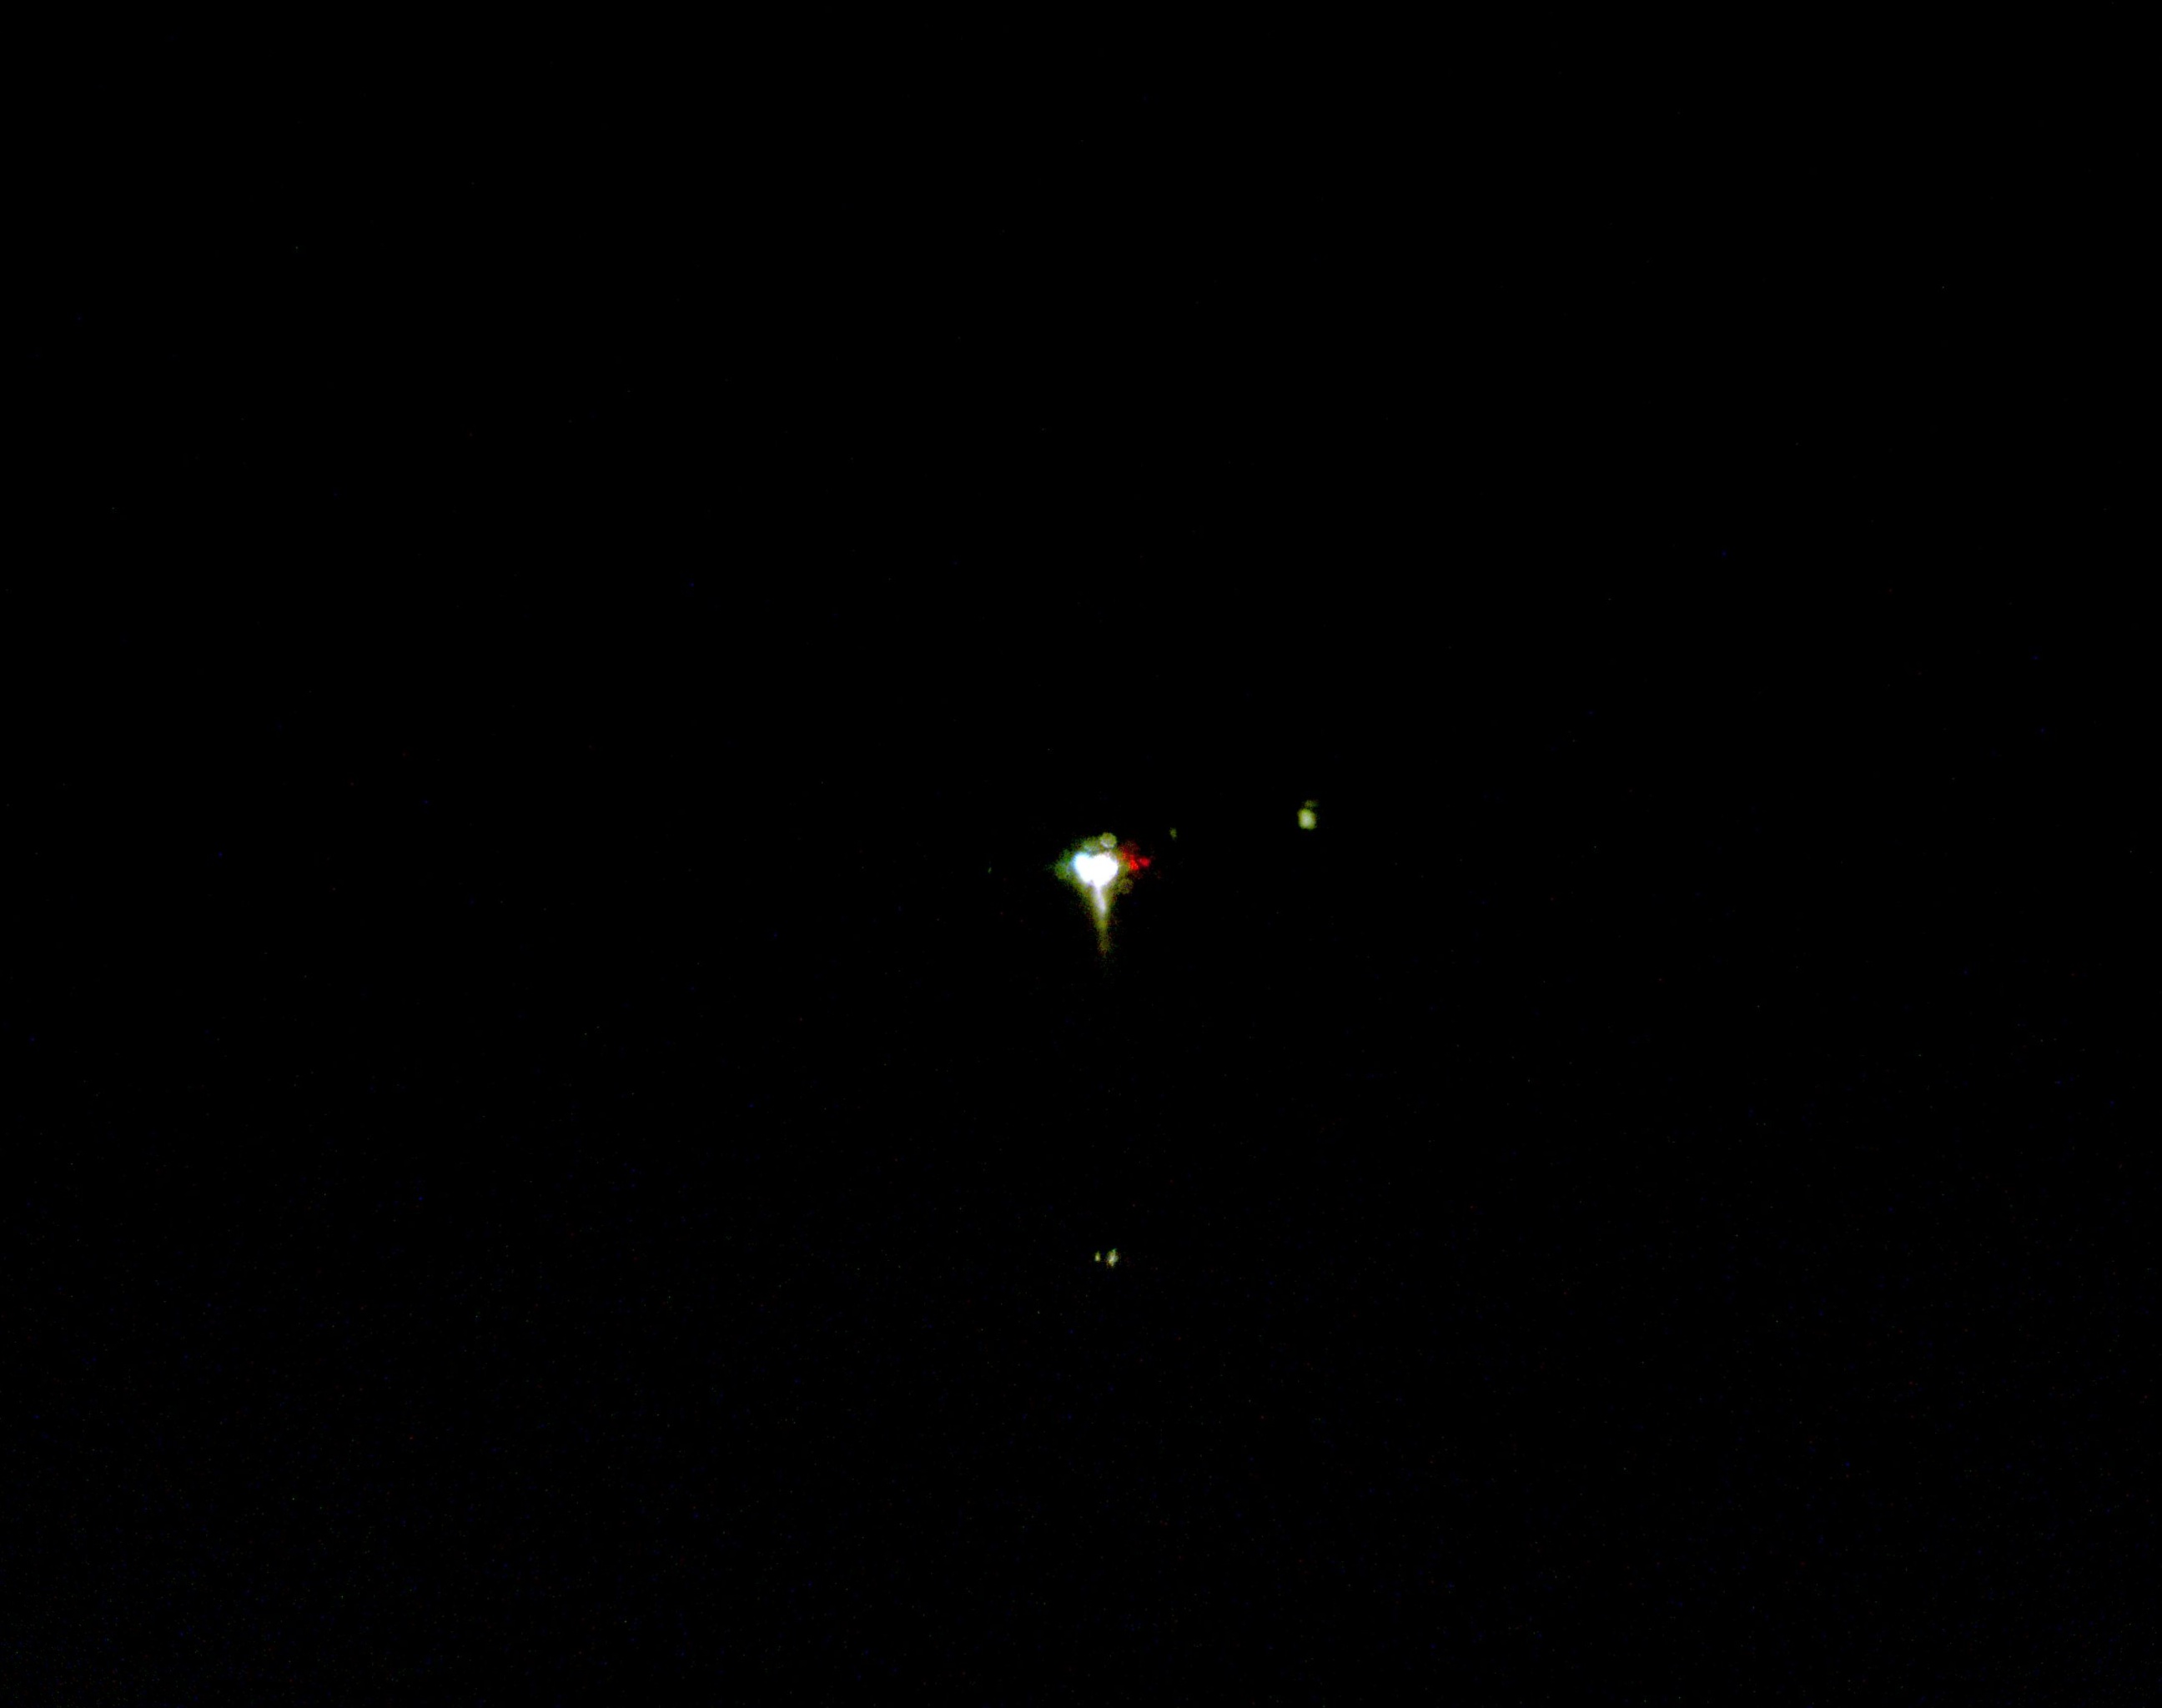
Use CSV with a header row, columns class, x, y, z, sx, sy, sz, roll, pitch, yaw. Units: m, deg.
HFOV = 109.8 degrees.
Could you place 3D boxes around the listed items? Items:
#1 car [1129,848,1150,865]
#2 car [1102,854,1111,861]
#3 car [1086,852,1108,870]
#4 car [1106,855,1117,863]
class,x,y,z,sx,sy,sz,roll,pitch,yaw
car,5.928,0.231,76.497,1.812,1.612,4.002,-2,0,9
car,6.219,0.830,184.273,1.998,1.410,4.665,-2,0,0
car,1.525,0.685,73.775,1.998,1.575,4.000,-3,0,0
car,6.158,1.093,154.939,1.998,1.489,3.775,-2,0,5
